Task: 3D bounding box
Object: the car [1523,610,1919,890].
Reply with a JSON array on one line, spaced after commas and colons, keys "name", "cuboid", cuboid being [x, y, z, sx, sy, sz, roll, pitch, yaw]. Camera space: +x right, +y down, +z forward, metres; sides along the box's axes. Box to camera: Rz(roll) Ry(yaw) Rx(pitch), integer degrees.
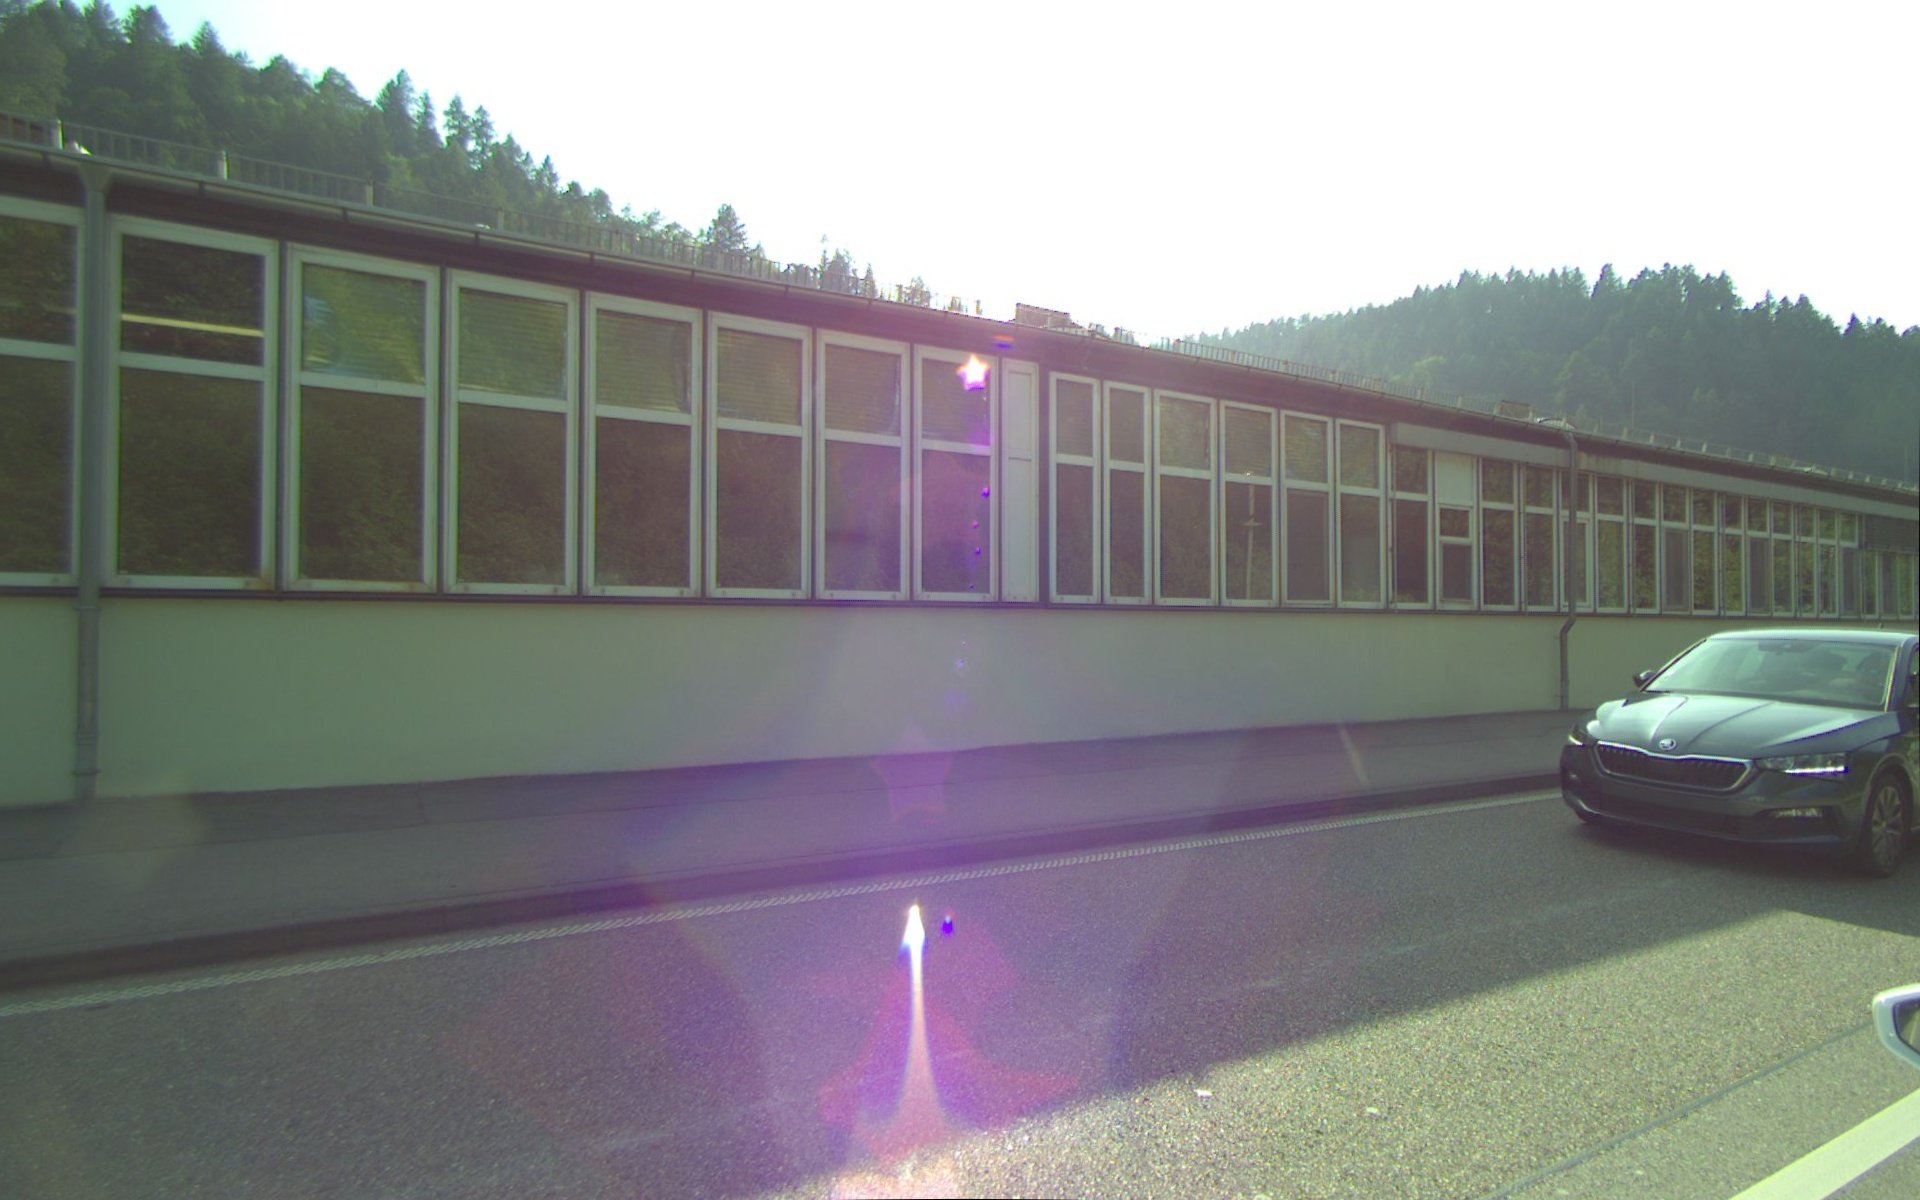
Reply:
[{"name": "car", "cuboid": [6.147, 0.876, 7.330, 4.004, 1.510, 1.765, 1, 0, -30]}]
